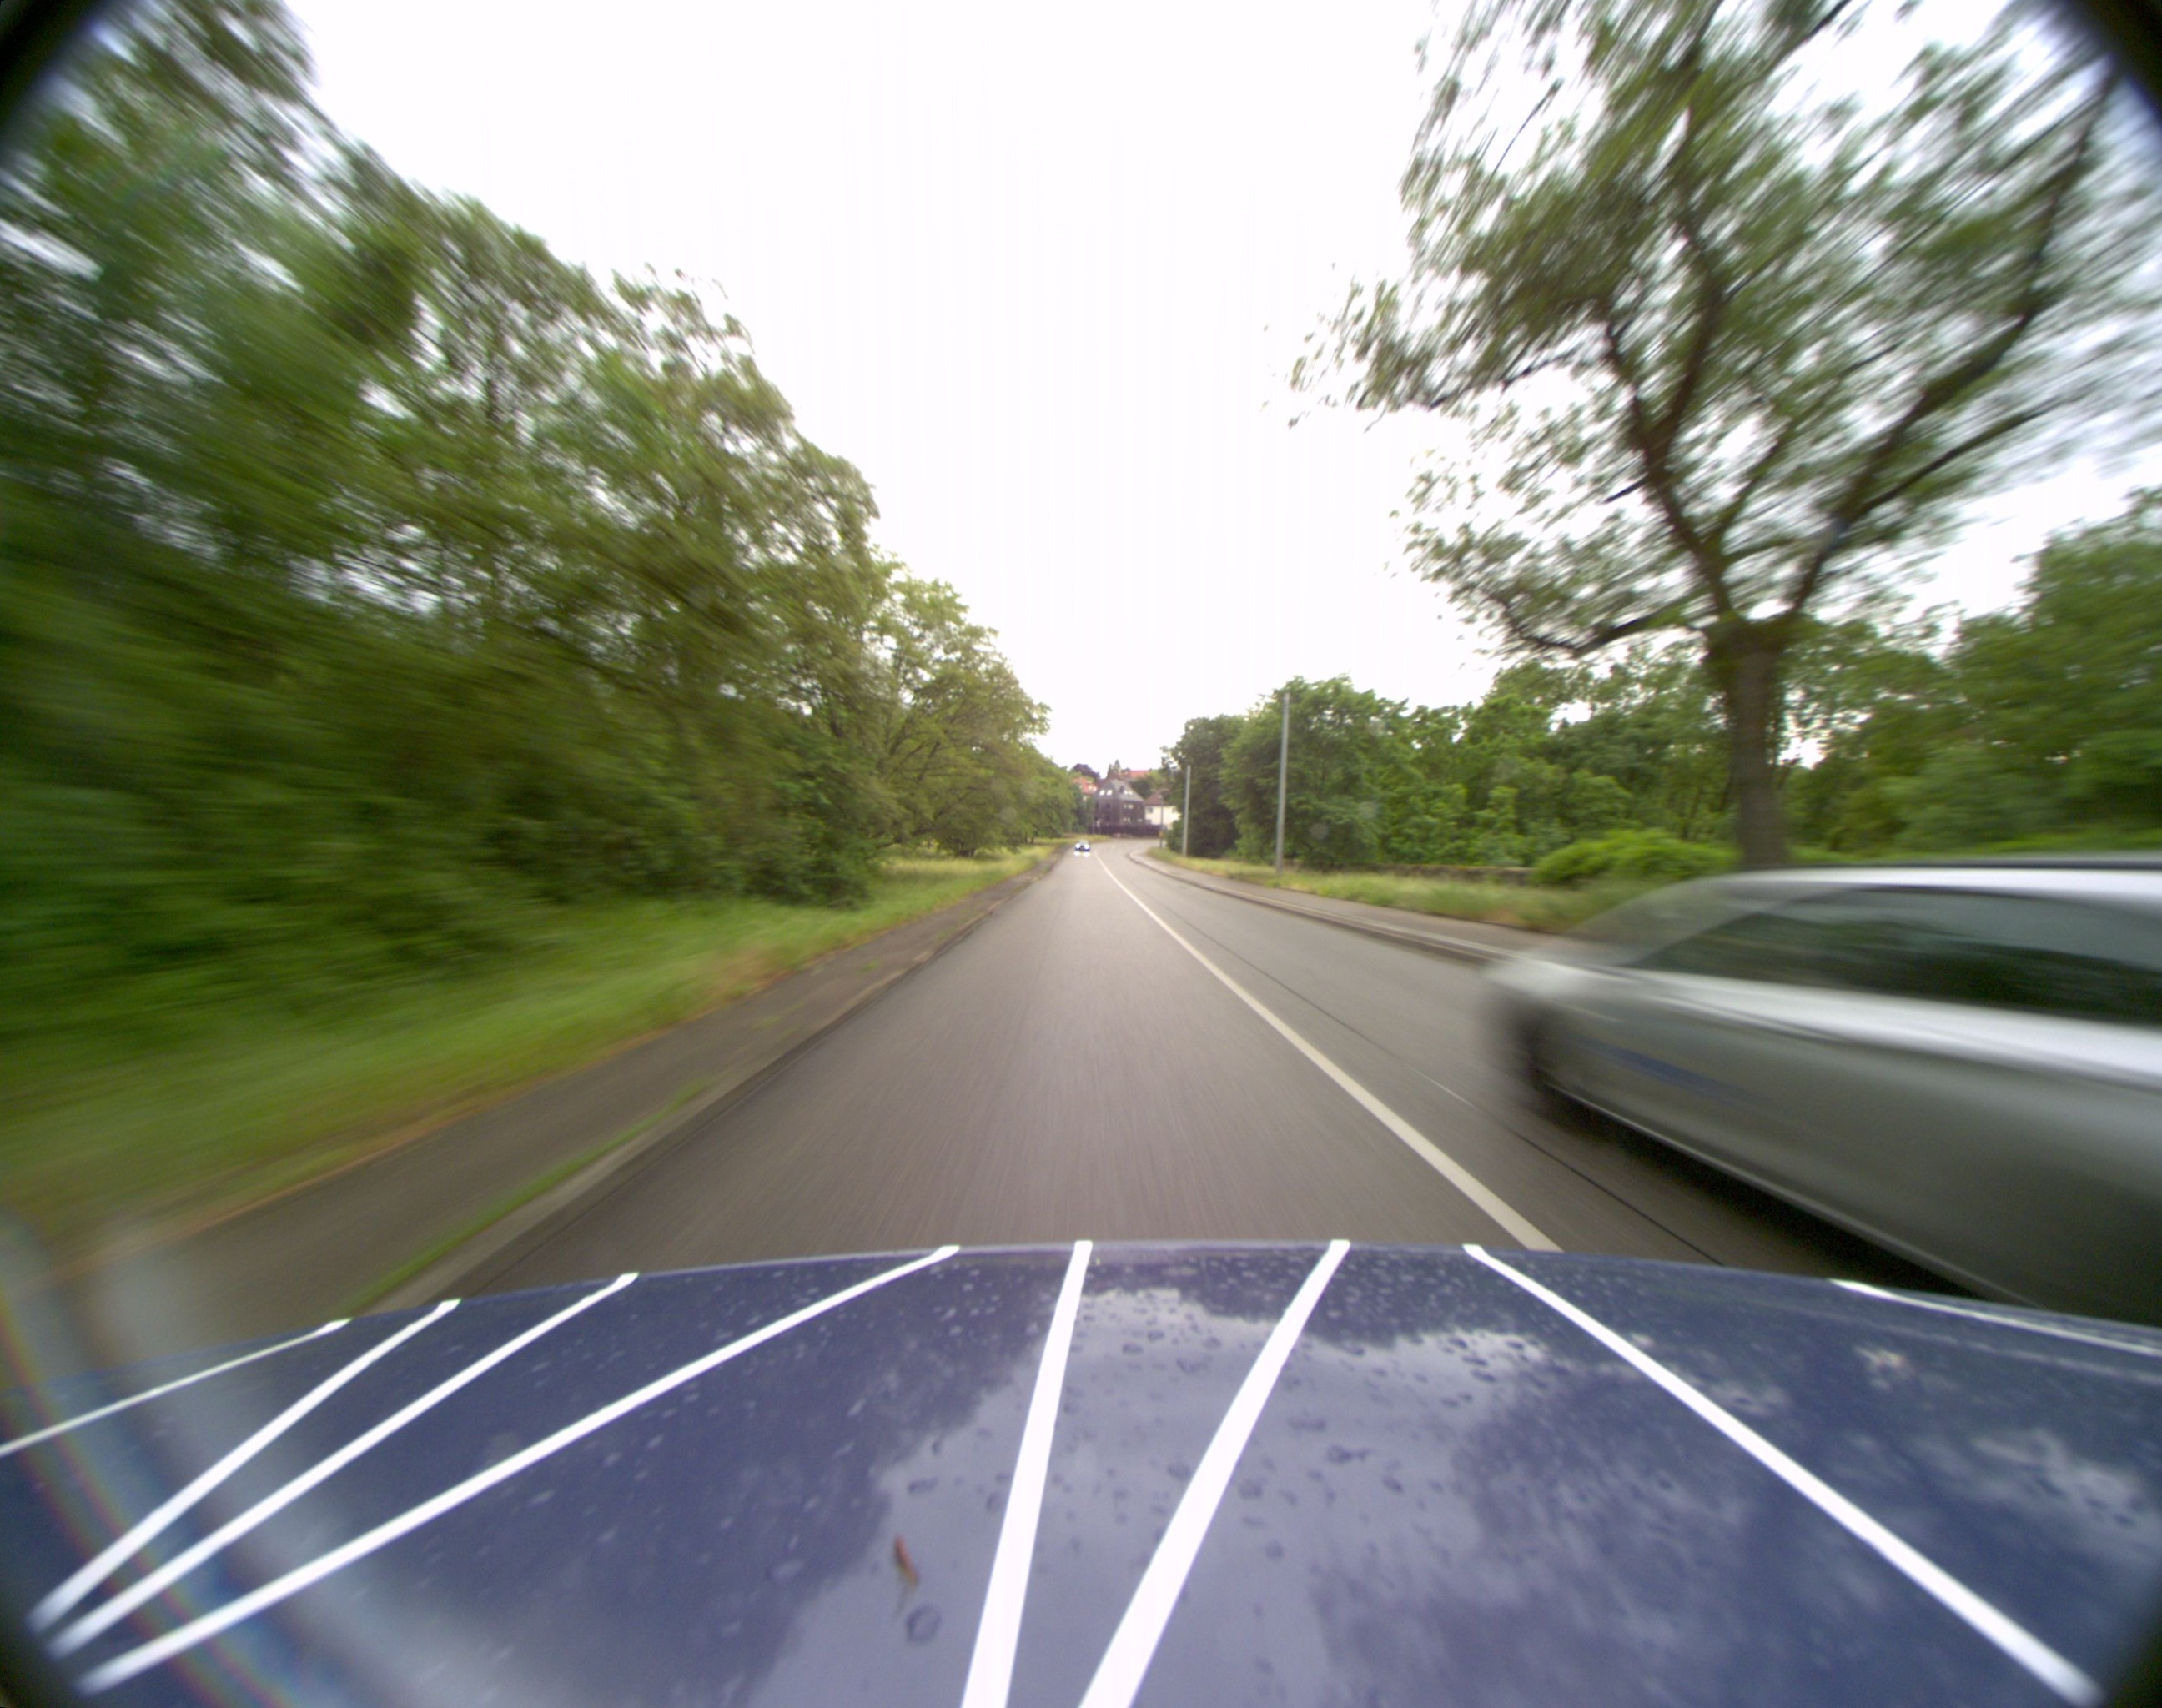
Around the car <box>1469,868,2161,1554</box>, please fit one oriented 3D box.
[{"bbox_3d":[3.324,0.838,2.549,1.784,1.422,4.474,-2,0,1],"label":"car"}]

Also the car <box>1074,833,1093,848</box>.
[{"bbox_3d":[0.363,-1.813,99.584,1.997,1.708,4.000,0,3,7],"label":"car"}]
